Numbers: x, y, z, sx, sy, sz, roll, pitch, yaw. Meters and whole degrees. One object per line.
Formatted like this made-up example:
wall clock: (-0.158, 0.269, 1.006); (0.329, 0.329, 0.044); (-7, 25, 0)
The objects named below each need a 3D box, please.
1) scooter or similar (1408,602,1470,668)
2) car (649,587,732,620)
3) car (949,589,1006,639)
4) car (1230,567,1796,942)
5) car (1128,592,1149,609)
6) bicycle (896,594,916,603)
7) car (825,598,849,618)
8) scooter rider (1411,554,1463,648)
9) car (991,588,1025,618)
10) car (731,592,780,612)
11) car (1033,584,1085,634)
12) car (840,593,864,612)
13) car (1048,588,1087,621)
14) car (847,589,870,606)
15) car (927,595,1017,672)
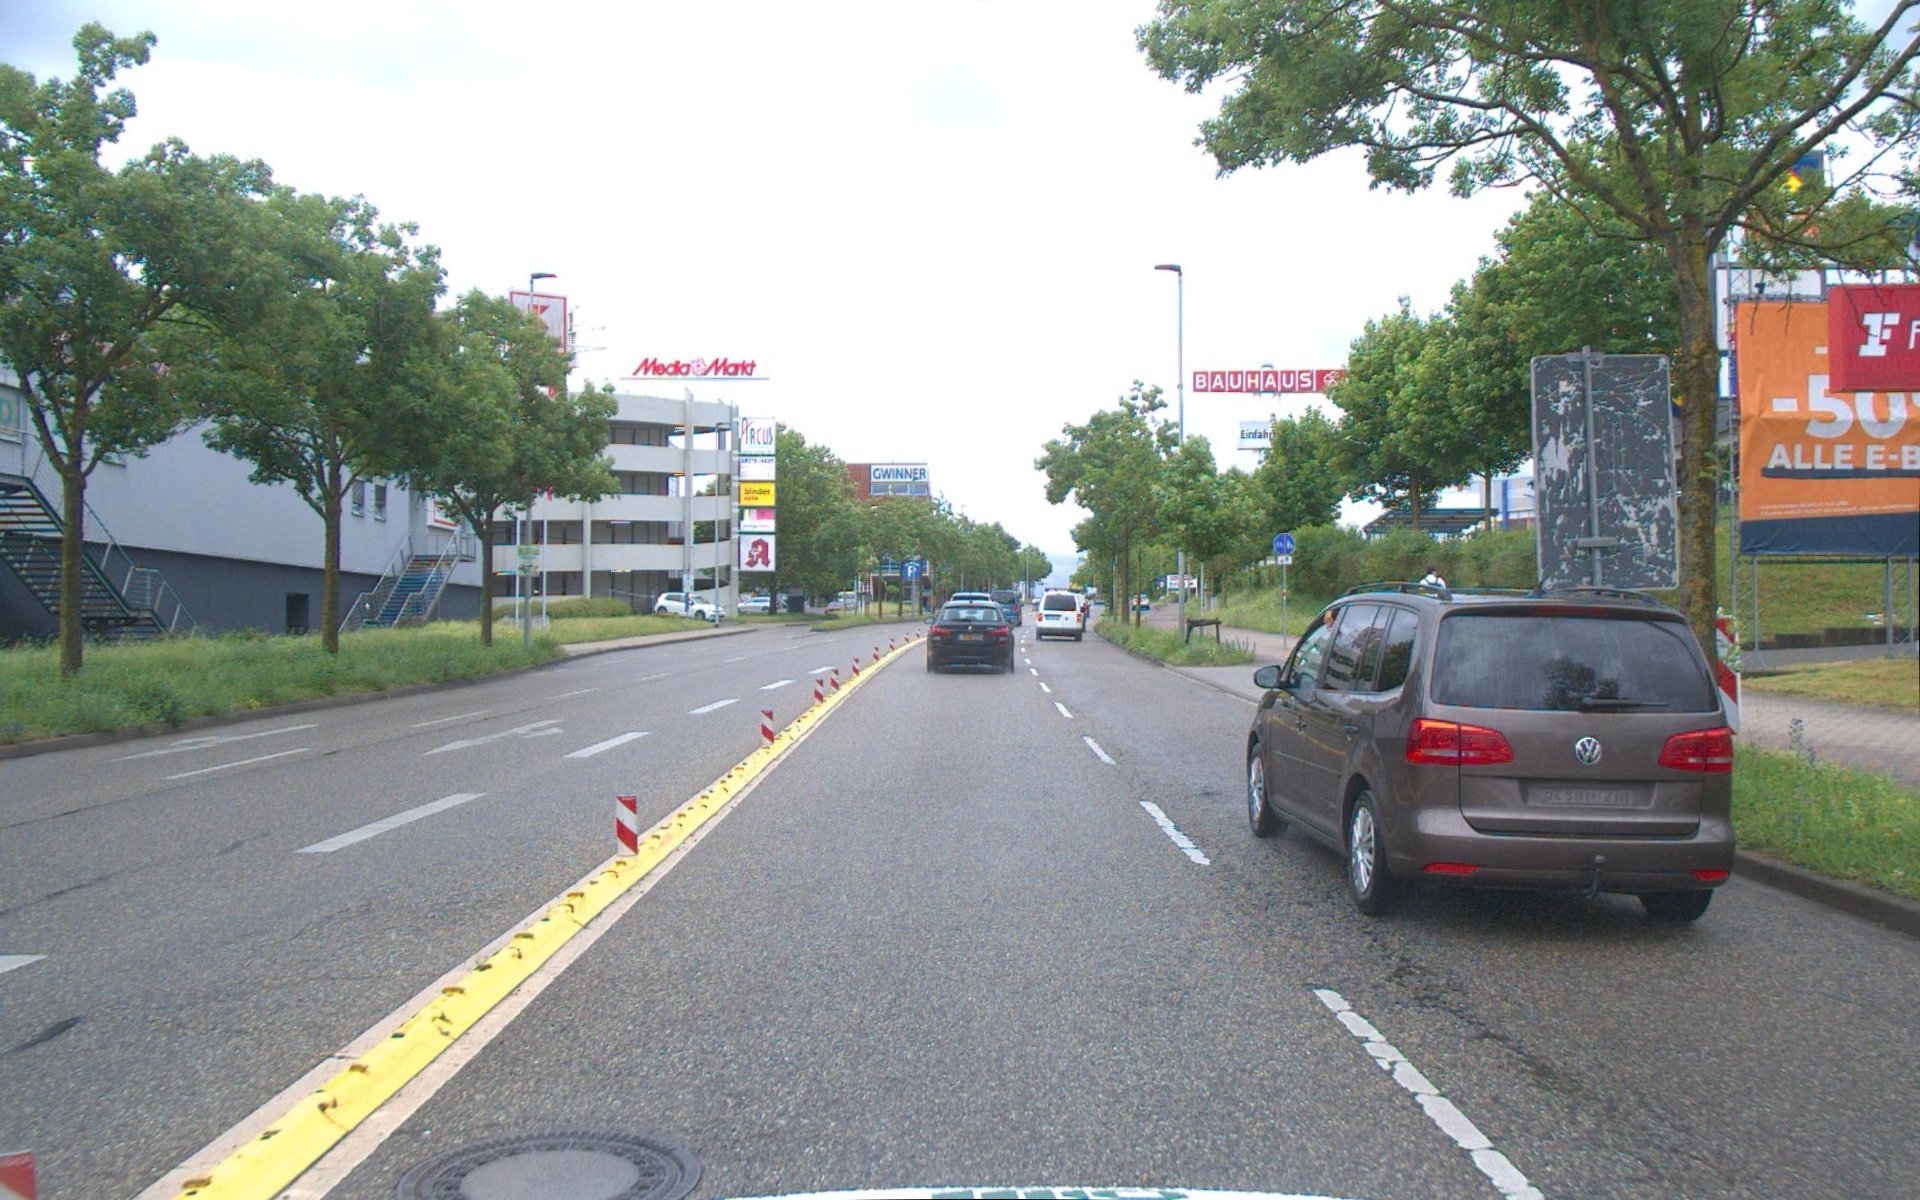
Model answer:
scooter or similar: (9.685, 0.692, 33.461); (0.681, 1.285, 1.399); (-2, 0, -6)
car: (-15.727, 0.177, 96.392); (4.321, 1.432, 1.906); (6, 3, 20)
car: (0.584, 0.462, 54.755); (1.757, 1.537, 4.000); (2, -1, 0)
car: (2.801, 0.722, 9.427); (1.651, 1.609, 4.216); (2, -1, -2)
car: (17.746, 0.058, 164.616); (1.757, 1.537, 4.001); (2, -1, 2)
bicycle: (-6.073, -0.169, 187.629); (2.033, 0.951, 1.094); (4, 0, 9)
car: (-11.506, 0.724, 155.011); (1.893, 1.637, 4.712); (1, 1, 0)
scooter rider: (9.655, 0.017, 33.477); (0.681, 1.852, 0.857); (-2, 0, -6)
car: (2.561, 0.182, 88.423); (1.757, 1.537, 4.000); (2, -1, 1)
car: (-19.827, 0.161, 160.230); (4.507, 1.776, 1.966); (1, 1, -3)
car: (3.728, 0.329, 62.864); (1.789, 1.789, 4.001); (2, 0, 1)
car: (-11.049, 0.262, 169.443); (1.997, 1.792, 4.948); (1, 1, 2)
car: (5.295, 0.256, 81.769); (1.757, 1.537, 4.001); (2, -1, 2)
car: (-11.650, -0.296, 190.367); (2.093, 1.804, 4.610); (1, 1, 3)
car: (0.250, 0.669, 35.182); (1.789, 1.494, 4.000); (1, 1, 0)
